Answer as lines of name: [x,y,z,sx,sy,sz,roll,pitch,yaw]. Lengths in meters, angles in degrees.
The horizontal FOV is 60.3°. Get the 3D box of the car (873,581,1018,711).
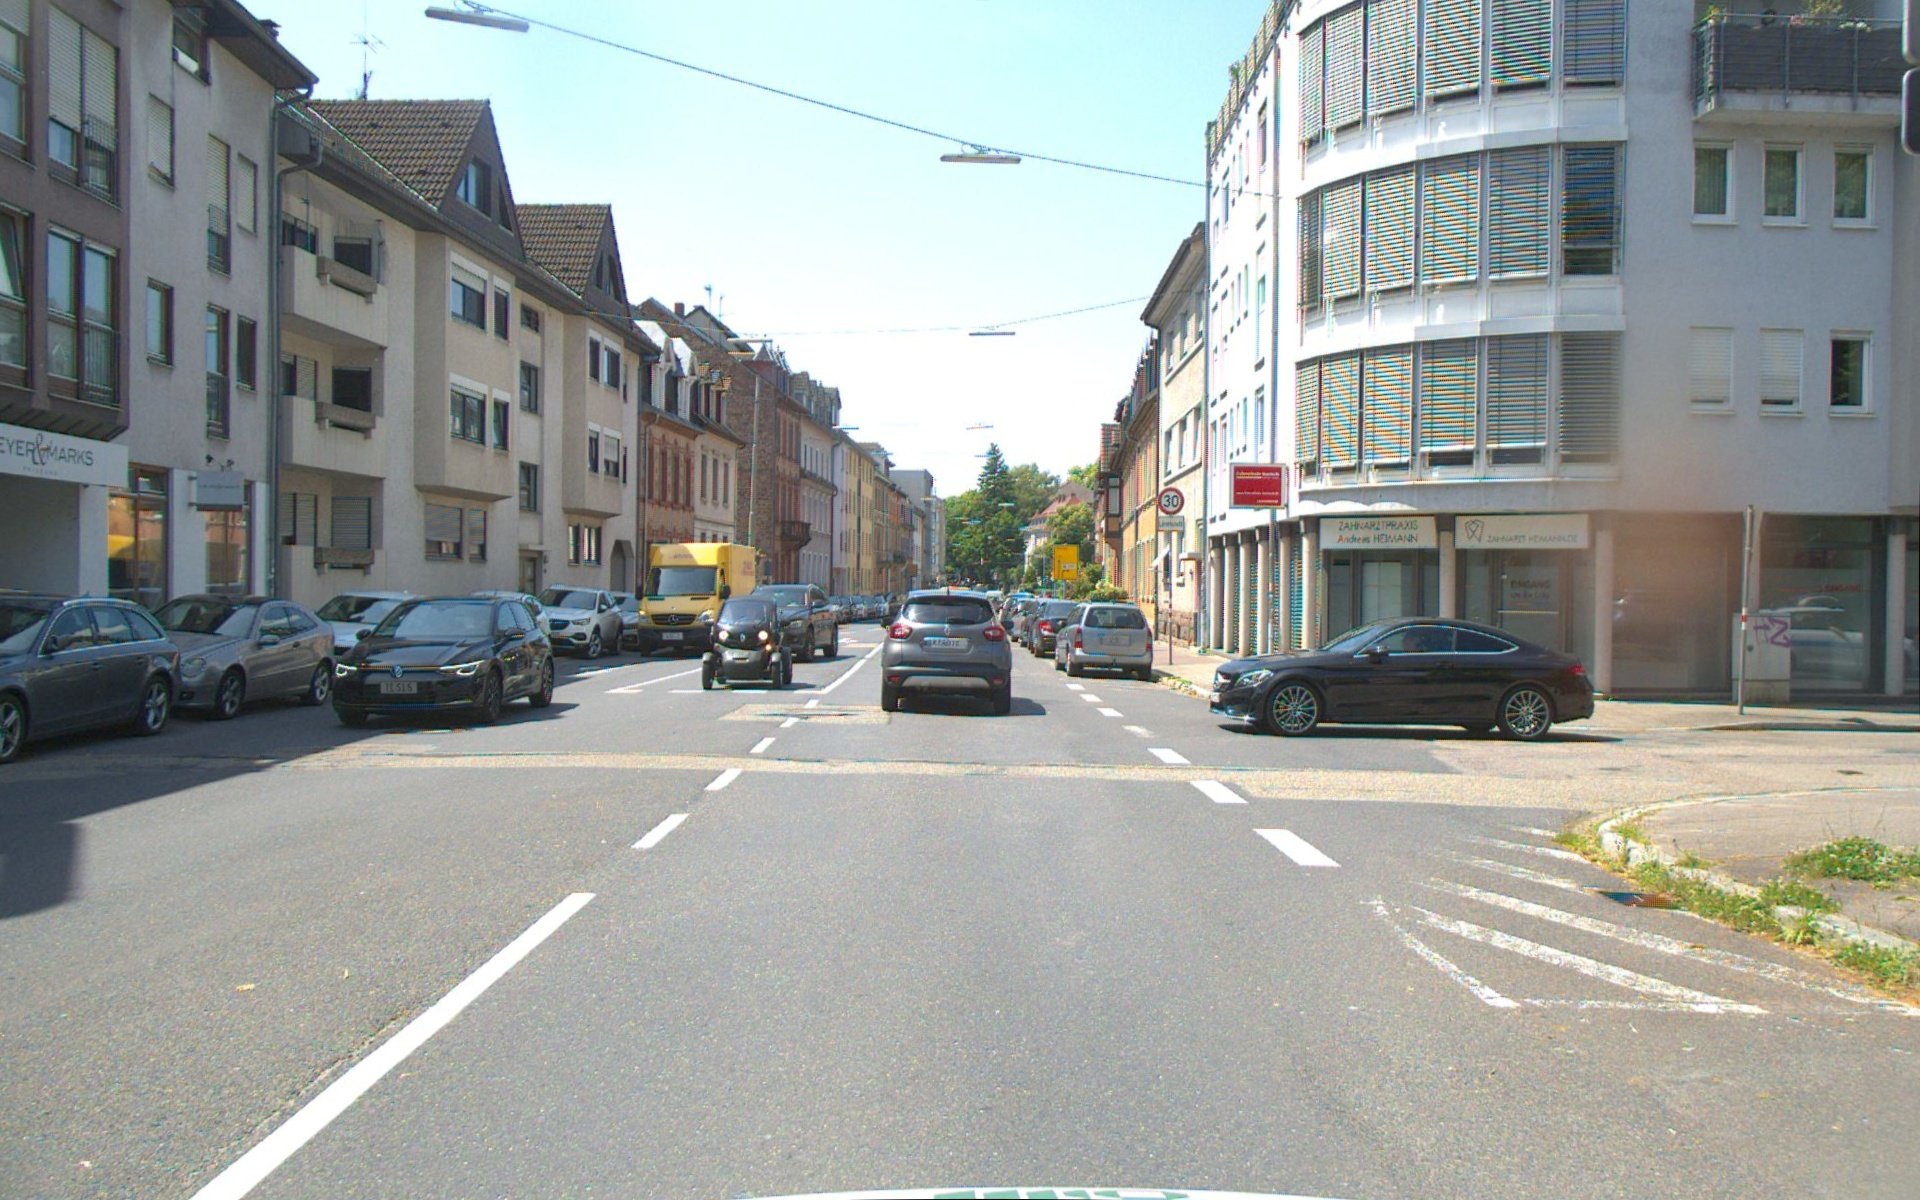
car: [-0.289,0.583,23.094,1.710,1.644,3.996,1,0,-5]

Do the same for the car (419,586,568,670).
car: [-9.515,0.541,34.079,1.802,1.515,4.385,3,0,-1]

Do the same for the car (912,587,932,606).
car: [-3.531,-0.328,154.227,1.866,1.648,4.301,-1,0,-1]

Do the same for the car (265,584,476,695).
car: [-9.228,0.584,26.286,1.803,1.515,4.385,3,0,-2]

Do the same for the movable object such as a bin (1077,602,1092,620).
movable object such as a bin: [6.566,0.576,87.369,0.772,0.923,0.539,0,0,-1]

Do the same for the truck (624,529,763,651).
truck: [-6.678,-0.243,42.350,2.179,2.820,7.564,-1,0,1]

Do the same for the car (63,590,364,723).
car: [-9.271,0.650,20.992,1.802,1.408,4.326,3,0,0]

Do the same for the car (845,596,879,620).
car: [-6.083,0.509,103.352,1.802,1.447,4.646,-1,0,0]

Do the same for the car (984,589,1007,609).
car: [3.036,-0.083,140.714,1.726,1.587,3.944,1,0,4]

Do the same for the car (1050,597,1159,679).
car: [2.870,0.716,33.533,1.644,1.480,4.141,2,0,-2]

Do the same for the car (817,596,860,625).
car: [-6.734,0.569,92.172,1.801,1.447,4.504,-3,0,3]

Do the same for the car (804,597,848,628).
car: [-6.956,0.630,86.305,1.802,1.447,4.502,-4,0,0]

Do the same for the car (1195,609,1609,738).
car: [5.301,0.863,20.251,4.489,1.389,1.999,1,0,-3]

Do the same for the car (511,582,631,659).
car: [-9.212,0.470,39.480,1.802,1.623,4.385,3,0,-1]

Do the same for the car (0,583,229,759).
car: [-9.191,0.603,16.126,1.802,1.473,4.969,3,0,1]

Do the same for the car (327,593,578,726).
car: [-6.050,0.653,20.222,1.706,1.444,4.223,0,0,1]

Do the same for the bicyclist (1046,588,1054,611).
bicyclist: [6.020,-0.021,110.447,0.521,1.495,0.791,0,0,3]

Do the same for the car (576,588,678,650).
car: [-9.054,0.515,45.298,1.802,1.514,4.386,3,0,0]

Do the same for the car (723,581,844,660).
car: [-3.881,0.446,37.047,1.774,1.649,4.444,-1,0,6]

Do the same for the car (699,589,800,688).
car: [-3.295,0.575,26.191,1.468,1.484,2.719,1,0,-5]

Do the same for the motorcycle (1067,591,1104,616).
motorcycle: [7.321,0.197,96.835,2.085,1.433,0.938,-1,0,1]

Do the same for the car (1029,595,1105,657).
car: [2.712,0.631,42.713,1.676,1.499,4.438,1,0,0]

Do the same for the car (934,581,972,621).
car: [-0.337,0.022,87.087,1.952,2.049,4.466,0,0,0]

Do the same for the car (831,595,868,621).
car: [-6.477,0.476,97.425,1.802,1.447,4.502,-1,0,0]

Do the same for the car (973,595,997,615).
car: [2.022,0.404,132.057,1.726,1.587,3.944,1,0,4]

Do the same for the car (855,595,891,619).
car: [-5.726,0.454,109.128,1.801,1.447,4.559,-2,0,3]

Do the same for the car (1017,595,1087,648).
car: [2.658,0.601,48.315,1.618,1.445,4.046,1,0,-3]

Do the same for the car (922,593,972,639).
car: [-0.460,0.568,62.087,1.775,1.649,4.442,-1,0,1]
